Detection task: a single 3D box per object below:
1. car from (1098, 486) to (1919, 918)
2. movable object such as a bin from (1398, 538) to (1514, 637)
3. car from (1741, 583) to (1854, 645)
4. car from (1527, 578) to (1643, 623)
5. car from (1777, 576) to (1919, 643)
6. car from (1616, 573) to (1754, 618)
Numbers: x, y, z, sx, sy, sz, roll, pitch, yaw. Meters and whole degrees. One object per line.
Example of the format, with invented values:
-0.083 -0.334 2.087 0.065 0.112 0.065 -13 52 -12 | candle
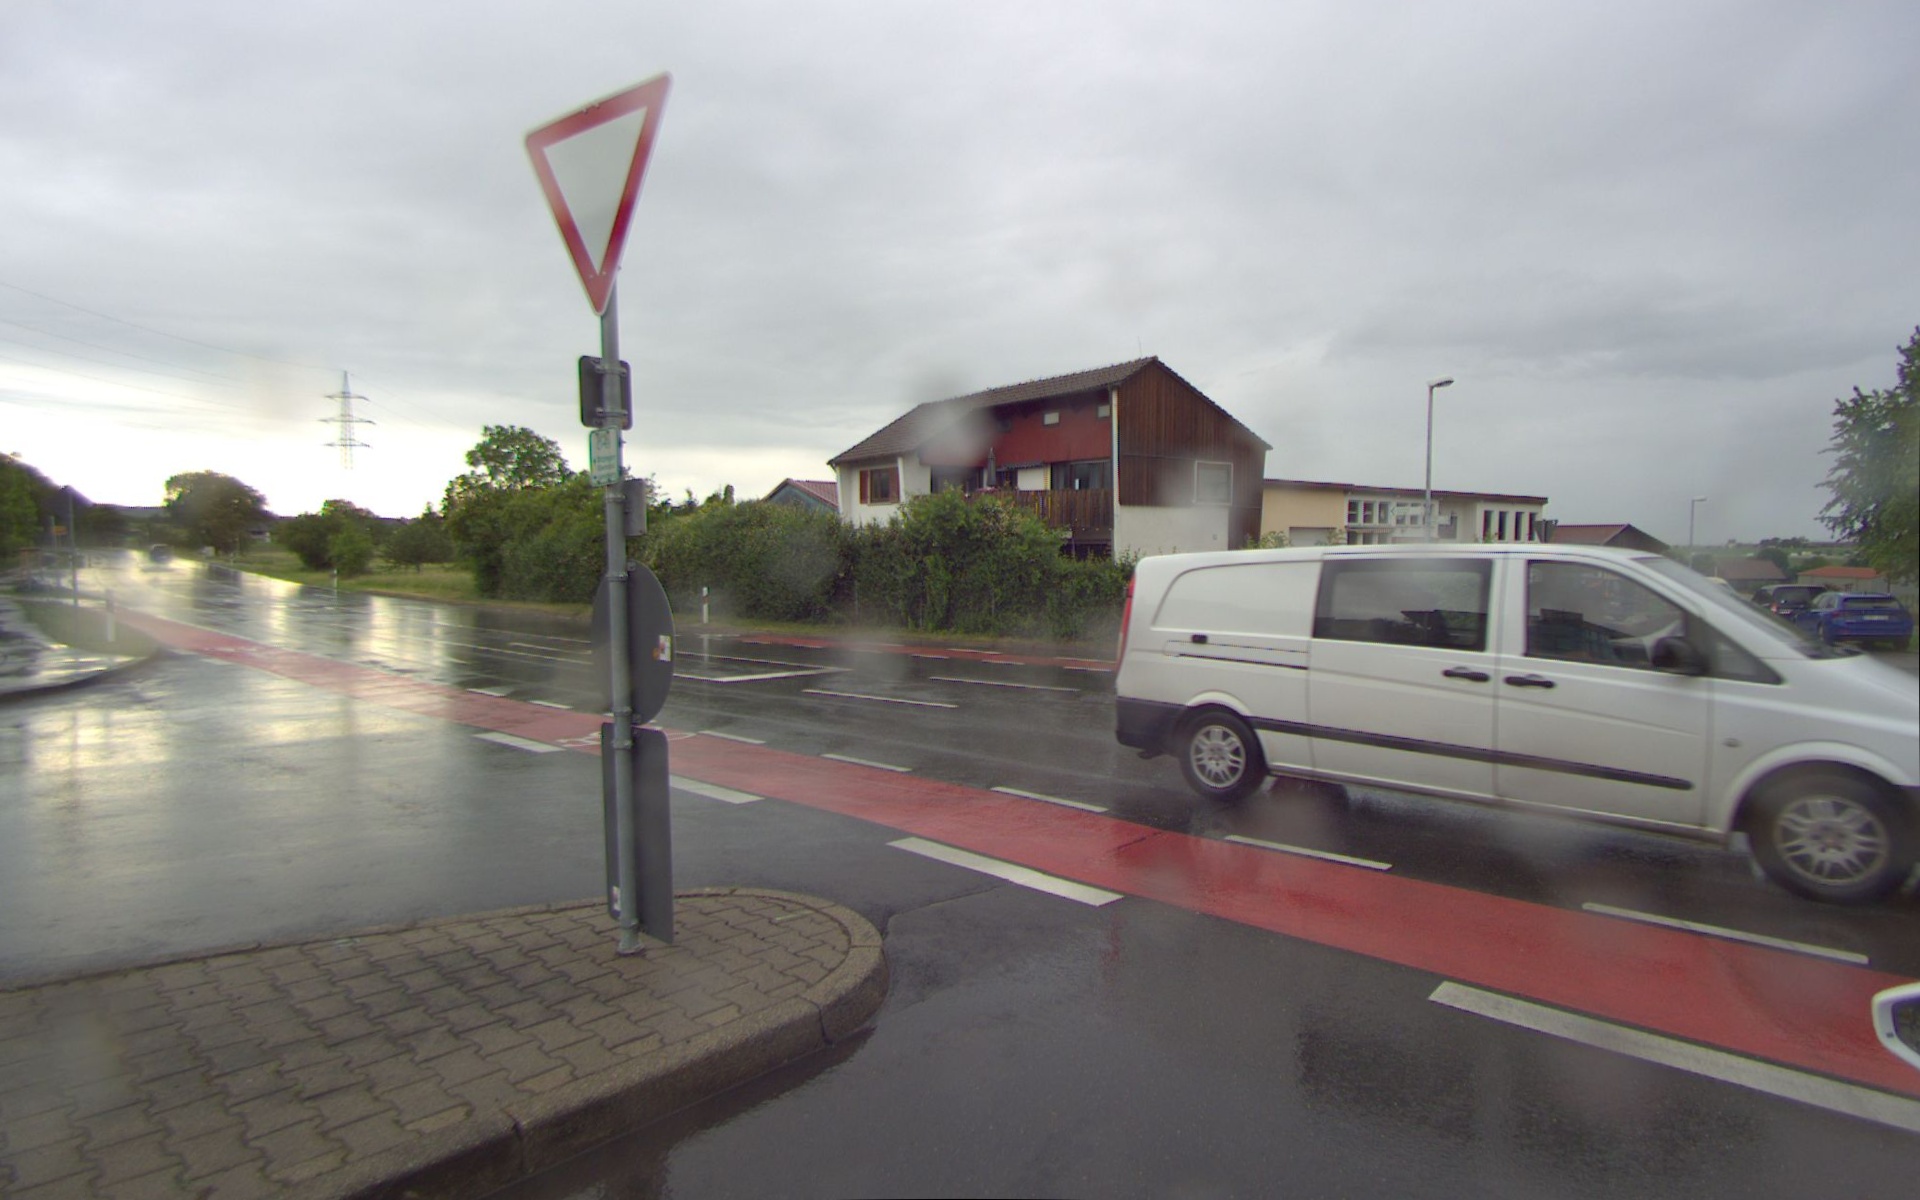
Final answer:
3.682 0.442 6.815 5.295 2.045 1.895 2 1 42 | car
13.768 -0.328 27.837 3.314 2.591 1.717 1 1 -41 | movable object such as a bin
27.096 0.422 32.661 2.044 1.859 4.461 1 1 30 | car
28.580 0.003 46.101 1.965 1.930 4.399 1 1 -13 | car
23.938 0.229 27.262 1.922 1.631 4.439 1 1 29 | car
41.688 -0.276 57.897 2.438 2.447 5.970 1 1 -34 | car
